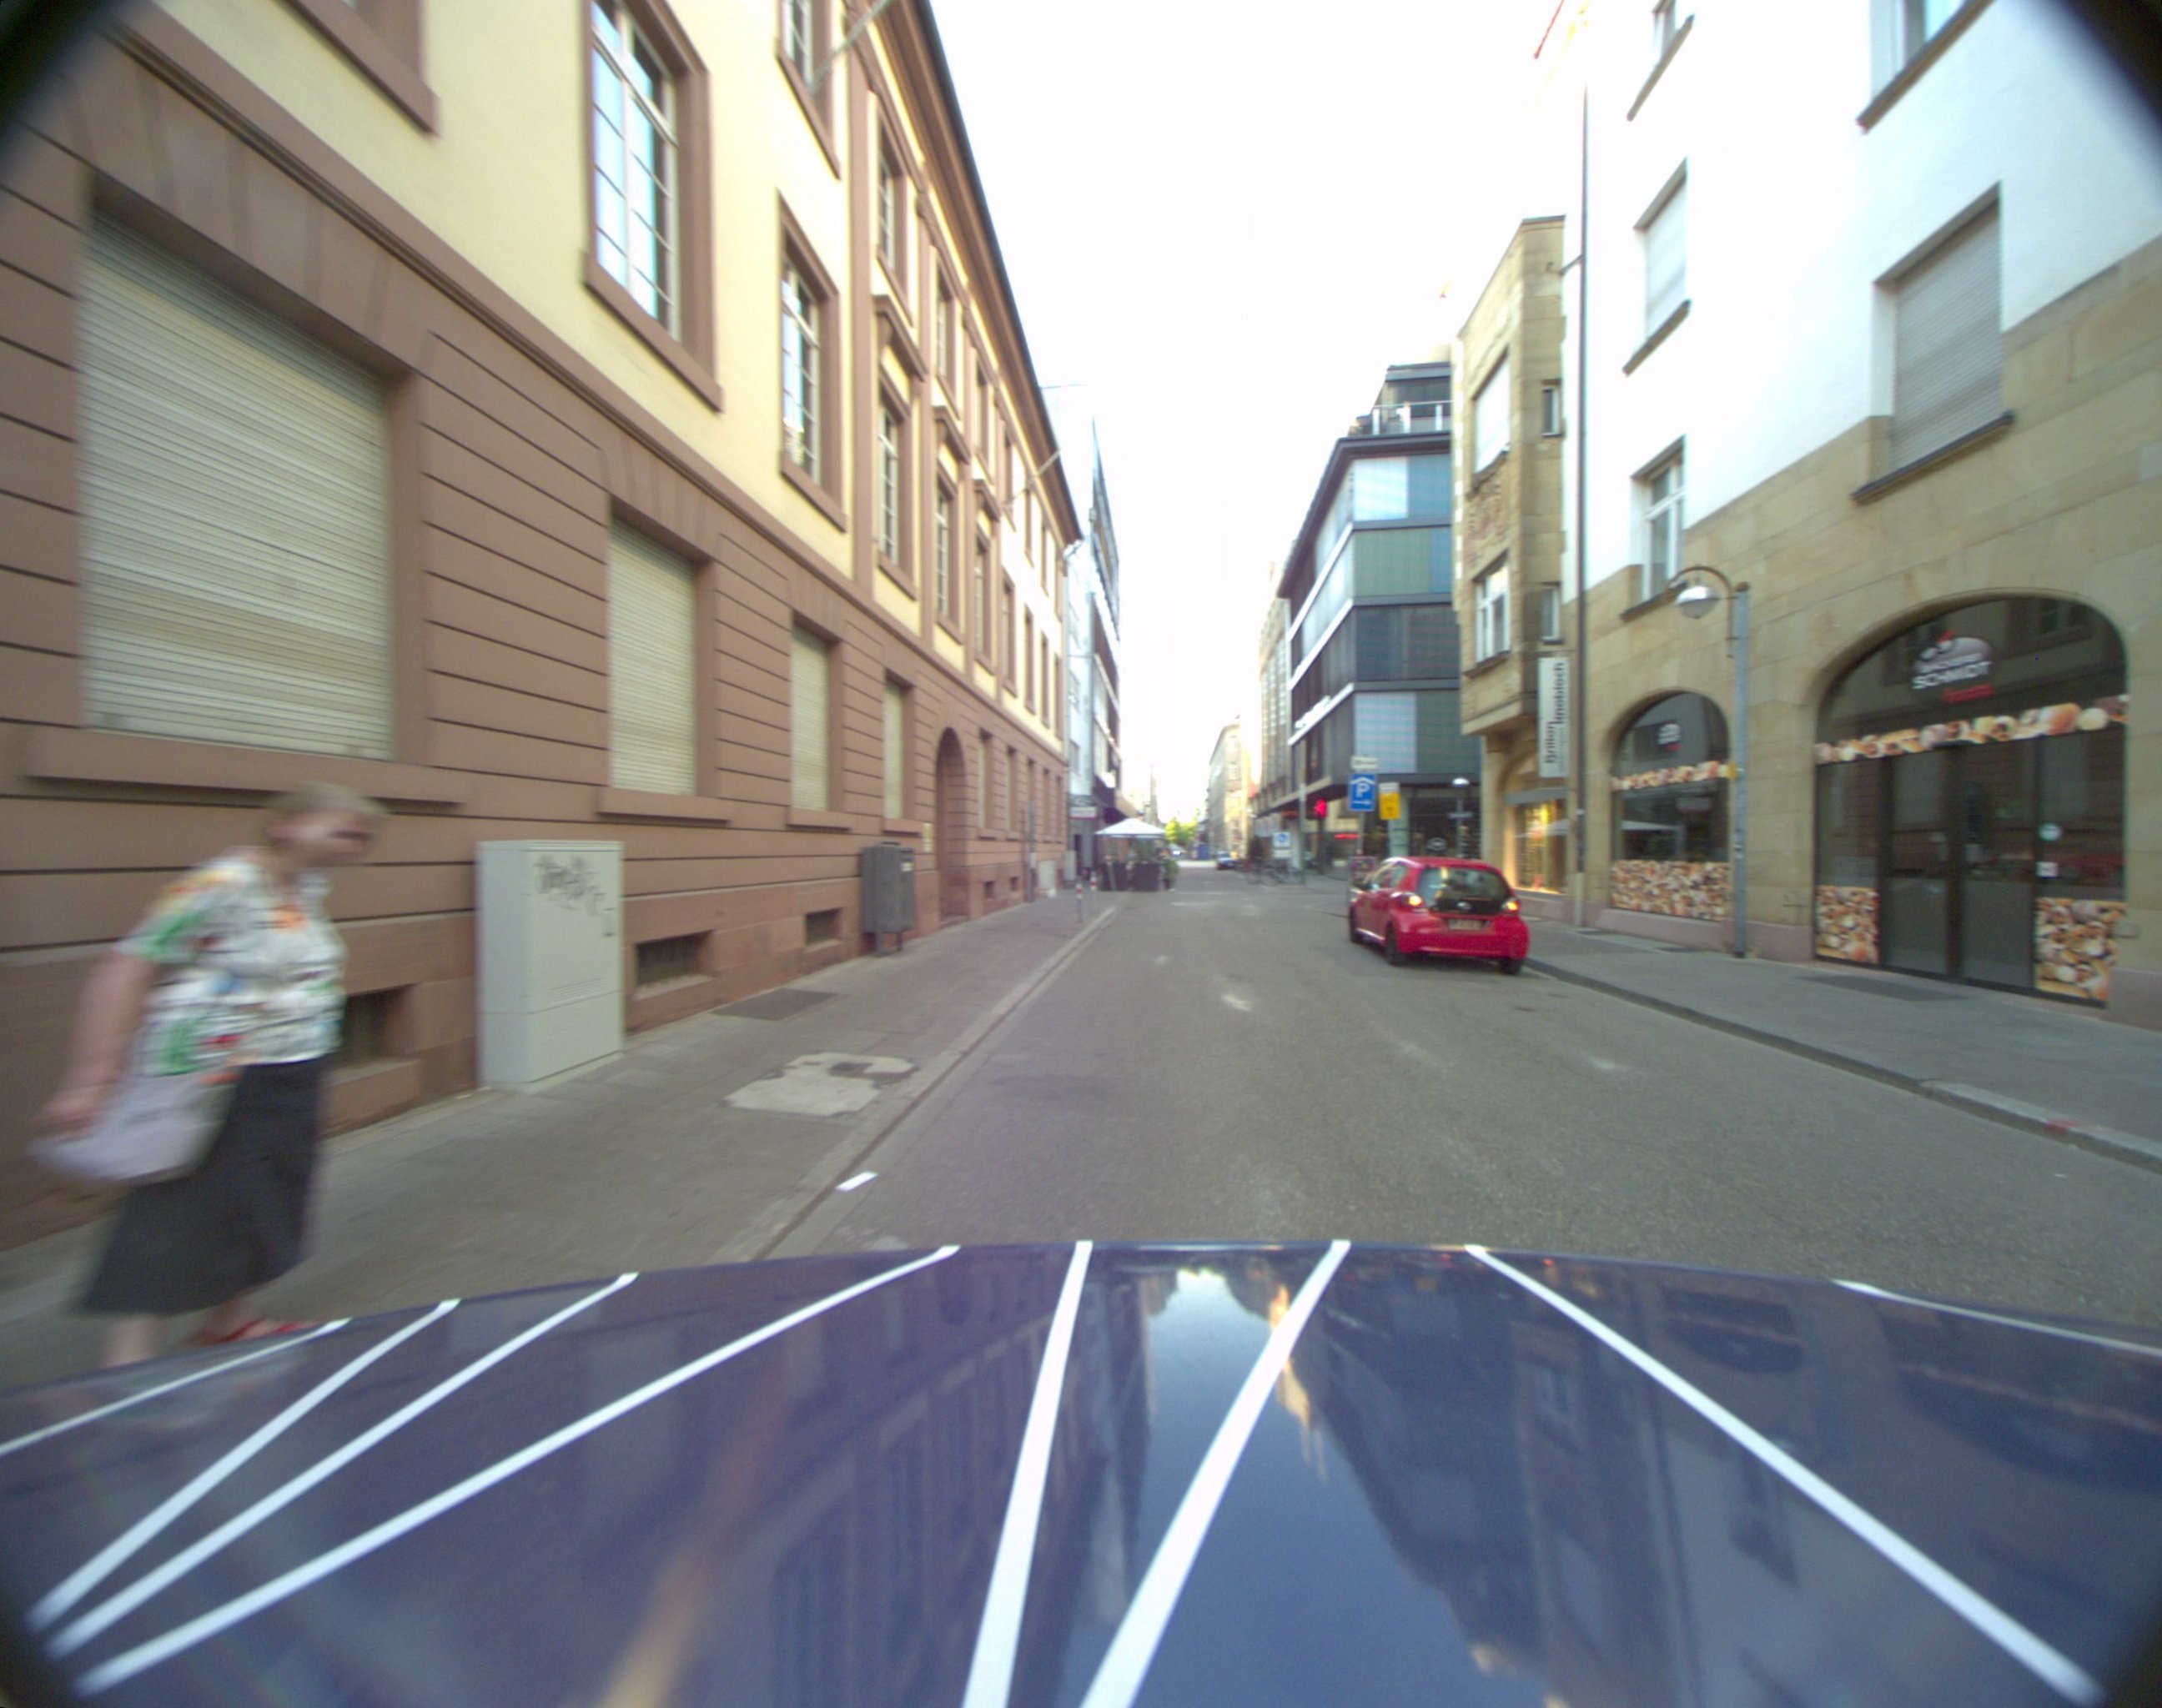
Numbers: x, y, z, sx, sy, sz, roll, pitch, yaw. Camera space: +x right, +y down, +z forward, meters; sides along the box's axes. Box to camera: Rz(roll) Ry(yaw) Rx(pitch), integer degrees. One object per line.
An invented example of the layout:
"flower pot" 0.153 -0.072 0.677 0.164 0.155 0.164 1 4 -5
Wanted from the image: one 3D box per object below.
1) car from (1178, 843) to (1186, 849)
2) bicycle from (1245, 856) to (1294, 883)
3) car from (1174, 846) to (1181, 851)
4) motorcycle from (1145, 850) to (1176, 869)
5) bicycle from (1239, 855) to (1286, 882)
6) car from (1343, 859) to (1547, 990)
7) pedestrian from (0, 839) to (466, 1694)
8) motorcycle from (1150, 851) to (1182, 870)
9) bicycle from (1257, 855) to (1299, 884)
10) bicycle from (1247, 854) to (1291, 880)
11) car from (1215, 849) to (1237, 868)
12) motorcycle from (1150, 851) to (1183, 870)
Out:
"car" 23.449 -1.846 176.515 1.426 1.259 3.563 -1 1 2
"bicycle" 8.059 0.661 32.519 1.951 1.124 0.620 -1 1 8
"car" 19.191 -1.073 150.936 1.425 1.090 3.564 -1 1 7
"motorcycle" 5.641 0.403 53.836 2.191 1.275 0.652 1 2 9
"bicycle" 7.971 0.621 33.447 1.951 1.124 0.620 -1 1 8
"car" 4.947 0.859 10.800 1.636 1.433 3.158 3 1 7
"pedestrian" -2.380 0.795 1.971 0.929 1.661 0.813 1 1 15
"motorcycle" 5.823 0.421 52.077 2.191 1.275 0.652 1 2 9
"bicycle" 8.032 0.627 30.999 1.606 1.112 0.620 -1 1 8
"bicycle" 8.694 0.598 35.176 1.951 1.124 0.526 -1 1 8
"car" 11.304 0.302 59.450 1.425 1.409 3.896 -1 1 7
"motorcycle" 5.752 0.434 51.115 2.191 1.275 0.652 1 2 9
